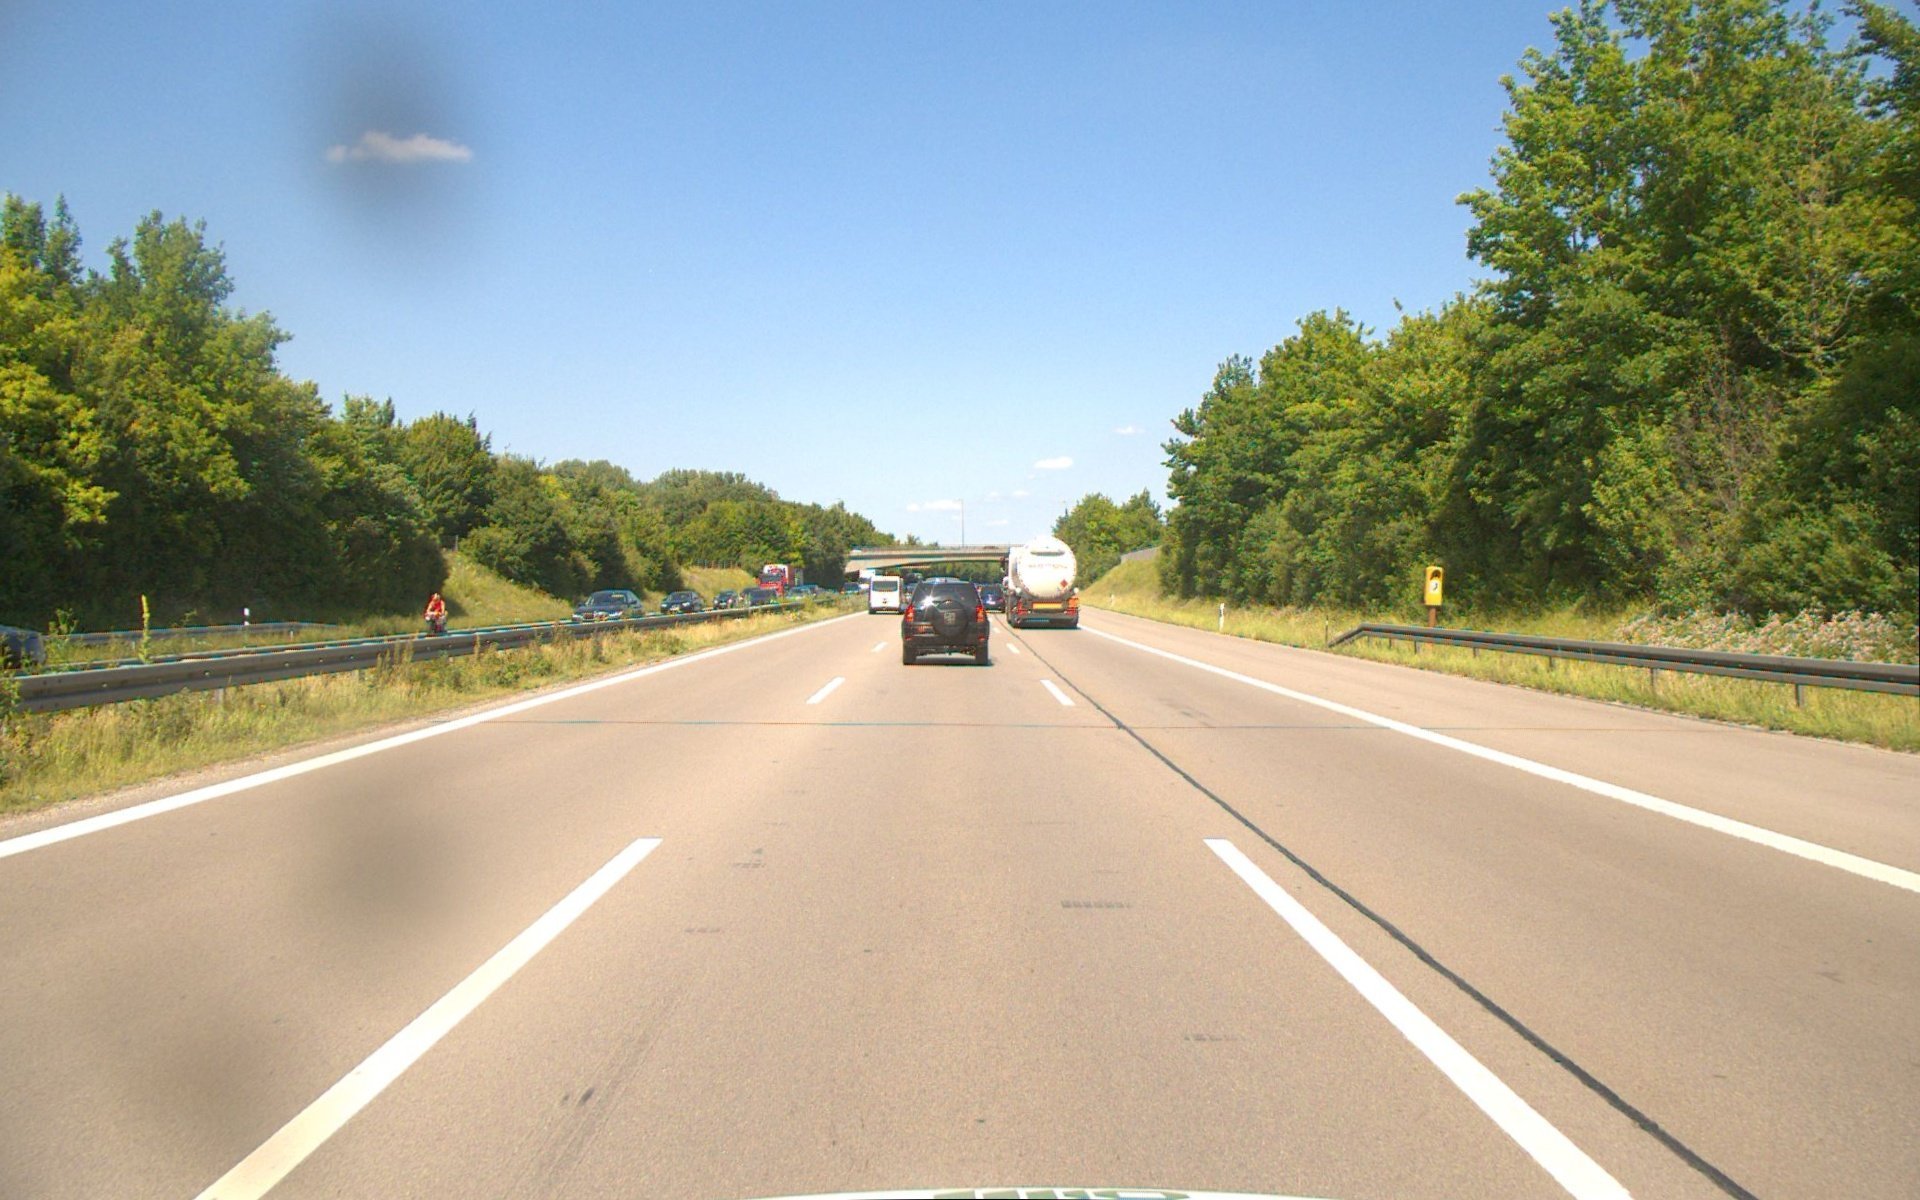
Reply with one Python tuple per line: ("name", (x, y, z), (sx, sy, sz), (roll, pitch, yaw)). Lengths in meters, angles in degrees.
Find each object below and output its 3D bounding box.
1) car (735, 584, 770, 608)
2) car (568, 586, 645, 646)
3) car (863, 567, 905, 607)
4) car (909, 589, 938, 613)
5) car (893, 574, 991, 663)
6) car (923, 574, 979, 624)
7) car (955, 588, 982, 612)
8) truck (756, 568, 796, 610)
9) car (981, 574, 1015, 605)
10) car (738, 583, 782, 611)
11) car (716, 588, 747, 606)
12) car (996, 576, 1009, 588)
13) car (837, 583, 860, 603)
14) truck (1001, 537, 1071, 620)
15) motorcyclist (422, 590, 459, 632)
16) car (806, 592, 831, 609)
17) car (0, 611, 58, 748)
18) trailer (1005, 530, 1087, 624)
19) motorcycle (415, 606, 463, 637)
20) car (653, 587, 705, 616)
("car", (-15.293, -0.293, 122.010), (1.953, 1.658, 4.575), (-1, 1, 0))
("car", (-12.174, 0.512, 57.206), (1.656, 1.914, 5.018), (-1, 1, -1))
("car", (-4.144, -0.715, 90.681), (1.953, 2.049, 4.950), (-2, 0, 0))
("car", (-2.551, 0.096, 115.731), (1.953, 1.579, 3.999), (-1, -1, -1))
("car", (-0.310, 0.337, 33.957), (1.867, 1.694, 4.001), (-1, 0, 1))
("car", (-0.317, -0.051, 61.366), (1.953, 1.735, 4.336), (-2, 0, 0))
("car", (0.671, -0.001, 127.205), (1.952, 1.780, 4.206), (-1, 1, 2))
("truck", (-17.931, -1.116, 161.544), (2.624, 3.835, 9.920), (-2, 1, 0))
("car", (2.237, -0.584, 96.410), (1.952, 1.713, 4.001), (-1, -1, 2))
("car", (-11.634, -0.191, 96.627), (1.953, 1.500, 4.830), (-1, 1, 0))
("car", (-18.372, -0.260, 133.155), (1.711, 1.320, 5.062), (-1, 1, 0))
("car", (6.071, -2.588, 236.306), (1.775, 1.777, 4.000), (-1, 1, 1))
("car", (-10.770, -0.689, 160.316), (1.953, 1.898, 4.898), (-1, 1, -1))
("truck", (3.262, -0.926, 72.476), (2.584, 3.433, 6.486), (0, 0, -2))
("motorcyclist", (-18.853, 0.386, 60.029), (0.921, 1.469, 1.356), (-1, 0, -2))
("car", (-11.552, 0.014, 134.977), (1.633, 1.340, 4.121), (-1, 1, 1))
("car", (-11.958, 0.955, 17.950), (1.953, 1.547, 4.427), (-1, 1, -1))
("trailer", (3.337, -0.892, 66.635), (2.594, 3.449, 11.150), (0, 1, -1))
("motorcycle", (-18.836, 0.766, 59.894), (0.916, 1.035, 2.654), (-1, 1, -1))
("car", (-16.009, 0.063, 94.482), (1.953, 1.500, 5.623), (-1, 1, 0))
